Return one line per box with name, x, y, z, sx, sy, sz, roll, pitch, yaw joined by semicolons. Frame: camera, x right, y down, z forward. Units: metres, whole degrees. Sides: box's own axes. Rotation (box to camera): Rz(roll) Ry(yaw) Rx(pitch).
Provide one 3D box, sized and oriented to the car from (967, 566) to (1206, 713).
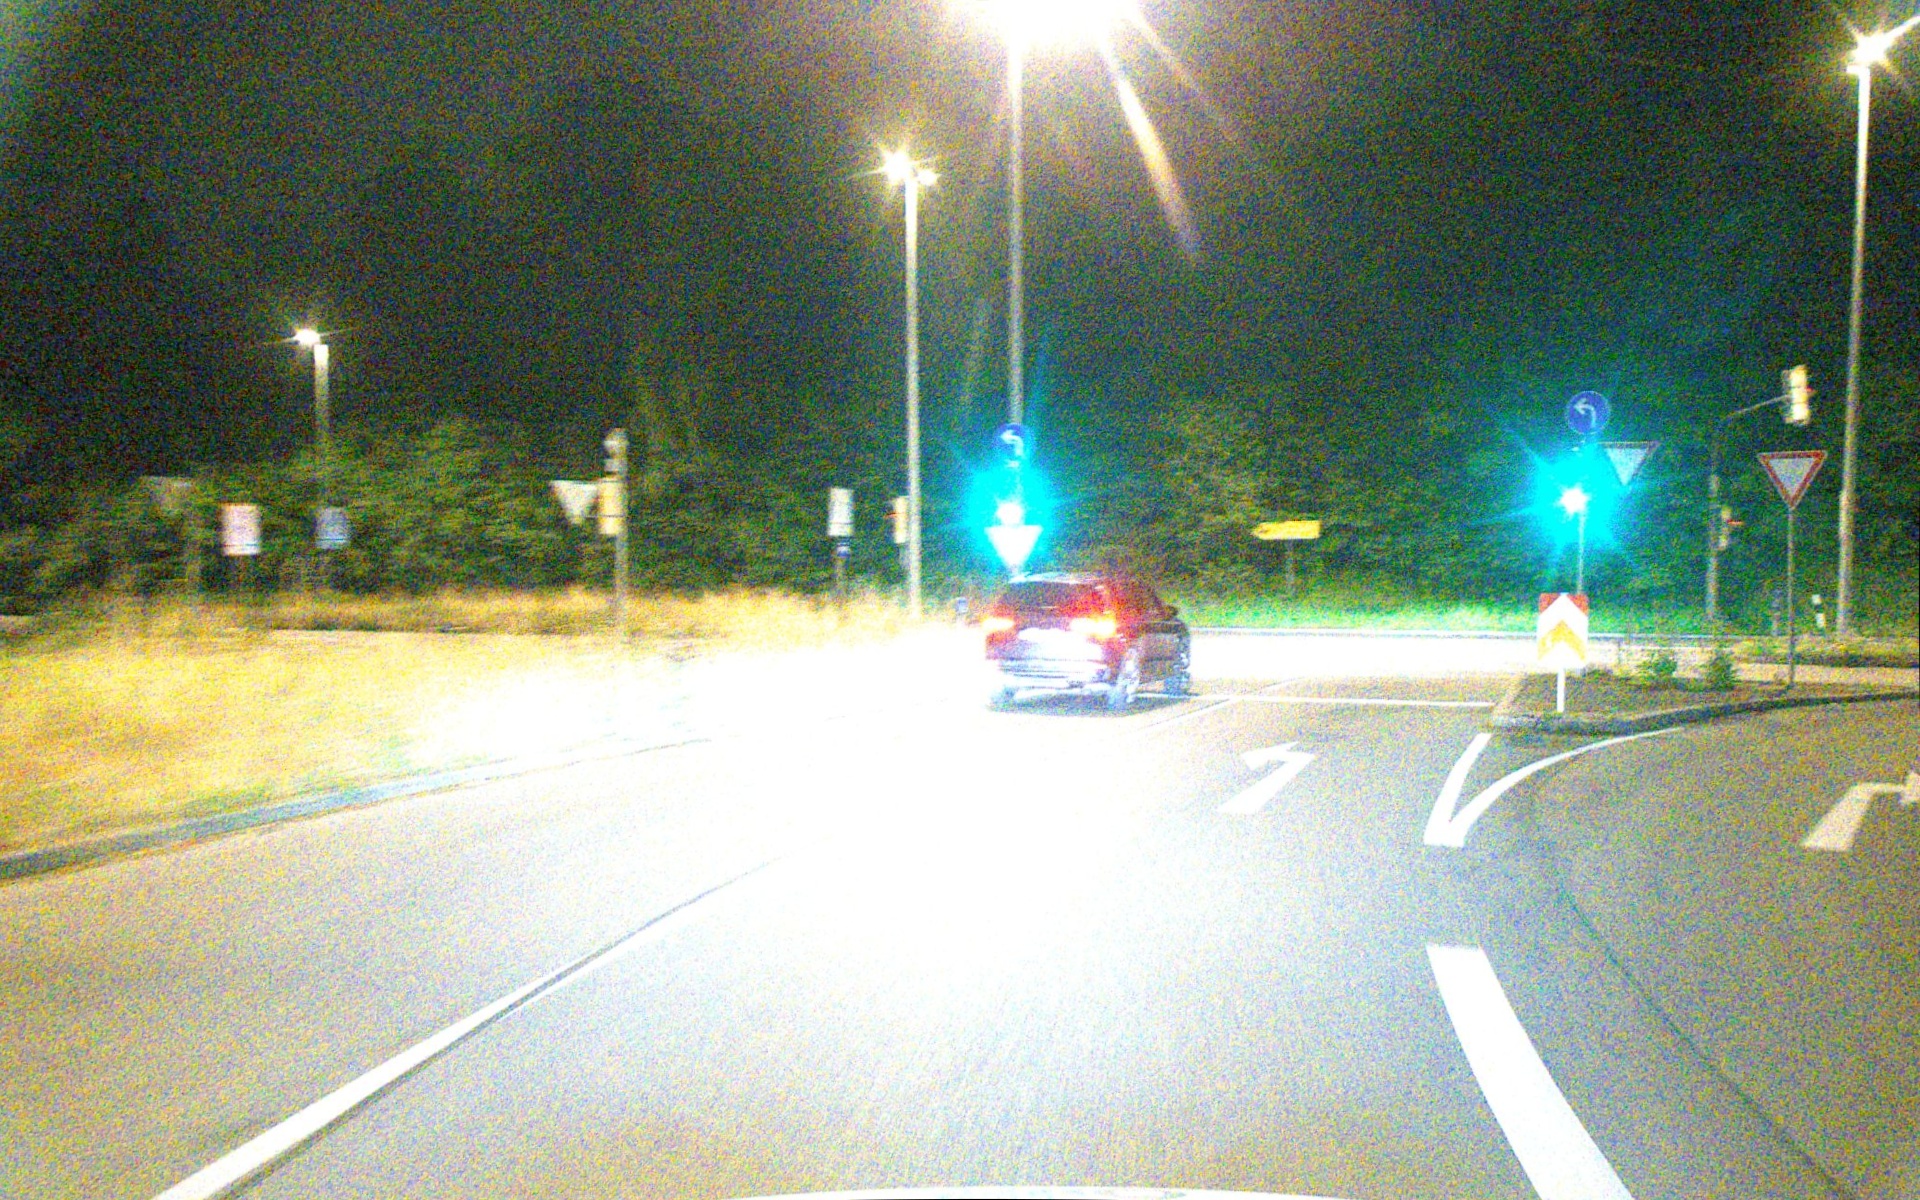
car;1.691;0.404;20.710;1.814;1.610;4.006;1;1;22
